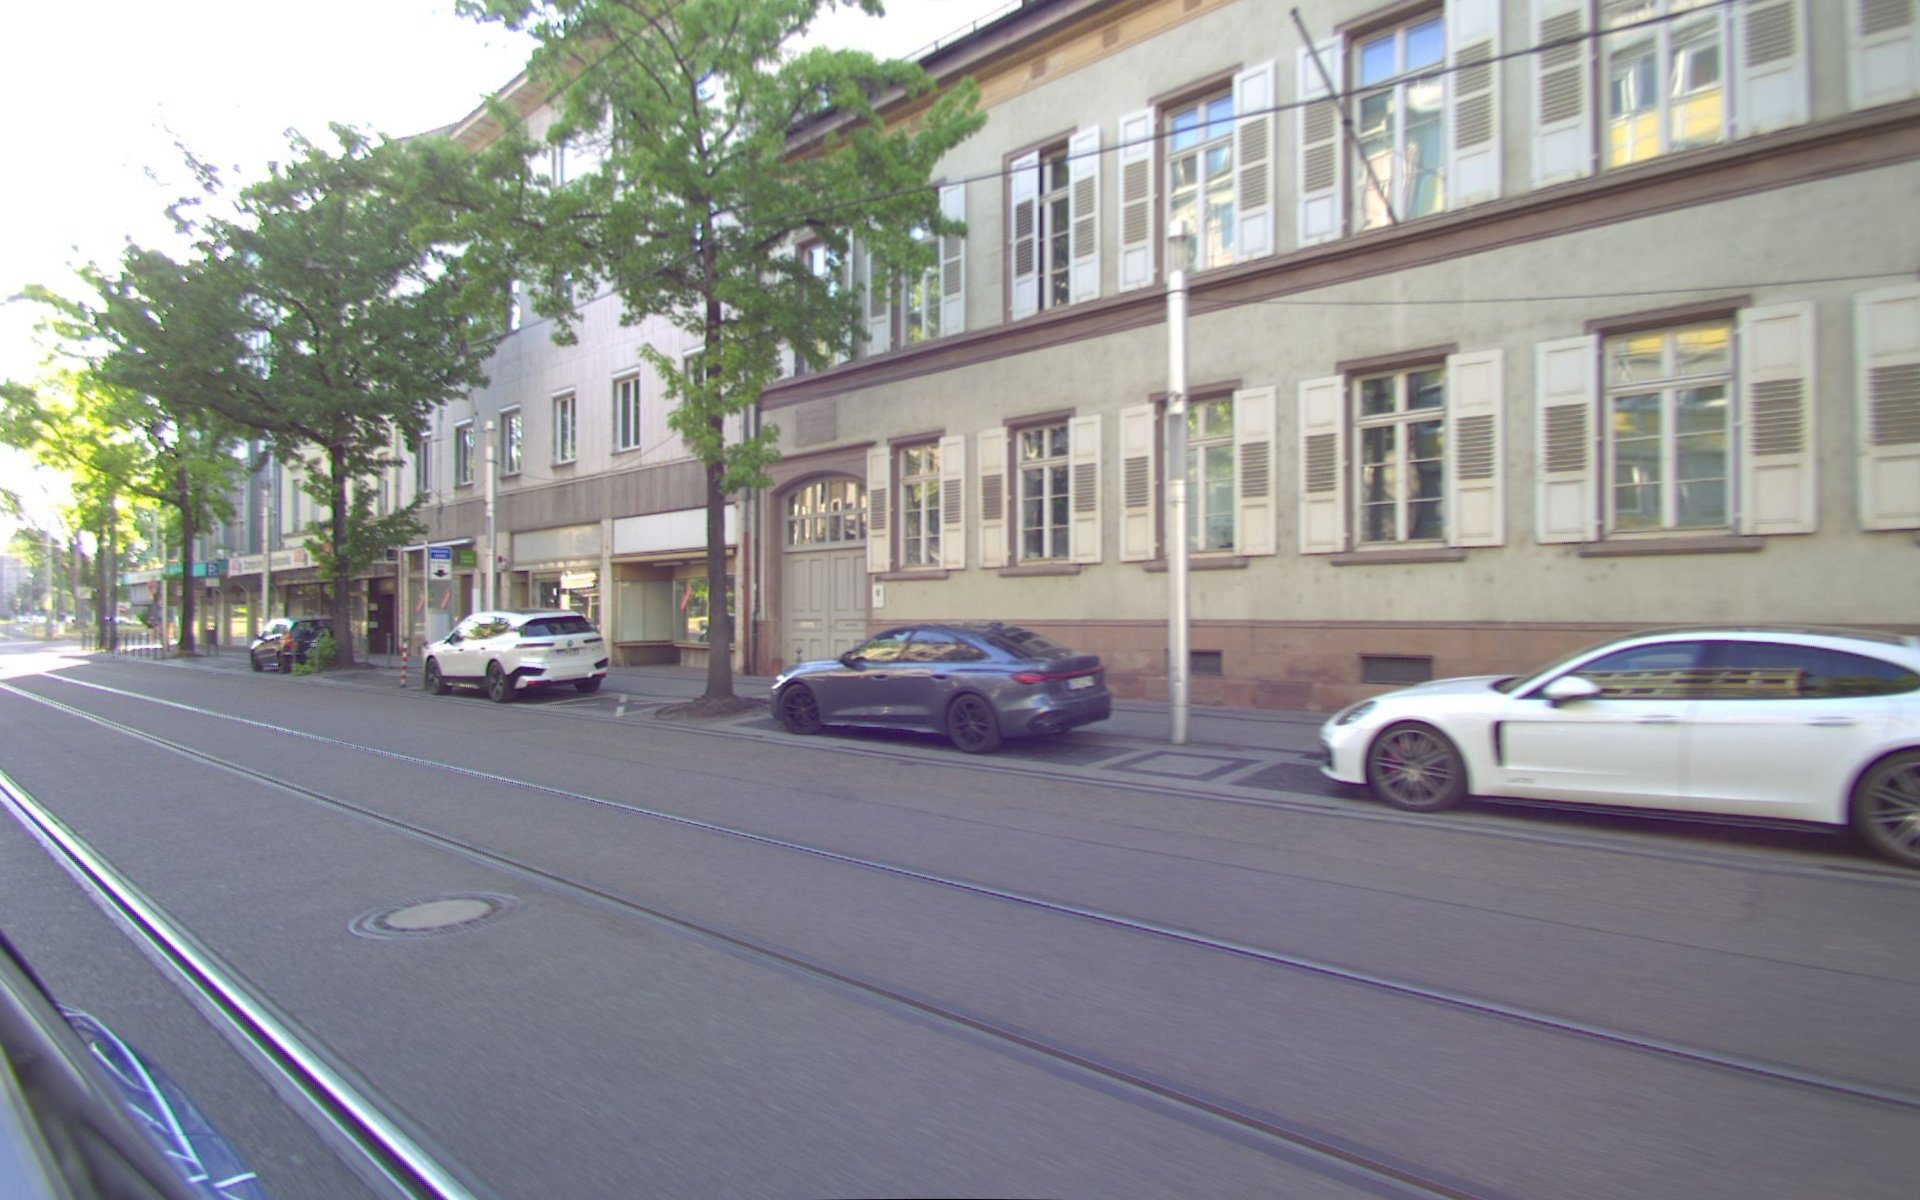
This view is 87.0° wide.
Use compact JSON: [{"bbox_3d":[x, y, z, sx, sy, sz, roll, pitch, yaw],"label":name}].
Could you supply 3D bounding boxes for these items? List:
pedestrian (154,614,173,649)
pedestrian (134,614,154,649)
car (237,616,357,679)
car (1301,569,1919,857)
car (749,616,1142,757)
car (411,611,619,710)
[{"bbox_3d":[-47.227,1.870,60.033,0.734,2.029,0.788,0,0,42],"label":"pedestrian"},{"bbox_3d":[-48.059,1.851,59.601,0.734,2.029,0.788,0,0,42],"label":"pedestrian"},{"bbox_3d":[-19.766,1.342,30.105,3.998,1.652,1.942,-1,2,41],"label":"car"},{"bbox_3d":[5.285,0.650,7.413,4.907,1.652,1.926,-1,1,42],"label":"car"},{"bbox_3d":[-0.328,0.932,12.745,4.841,1.423,1.943,-1,-1,39],"label":"car"},{"bbox_3d":[-8.952,1.099,20.144,4.811,1.652,1.941,-1,2,42],"label":"car"}]
